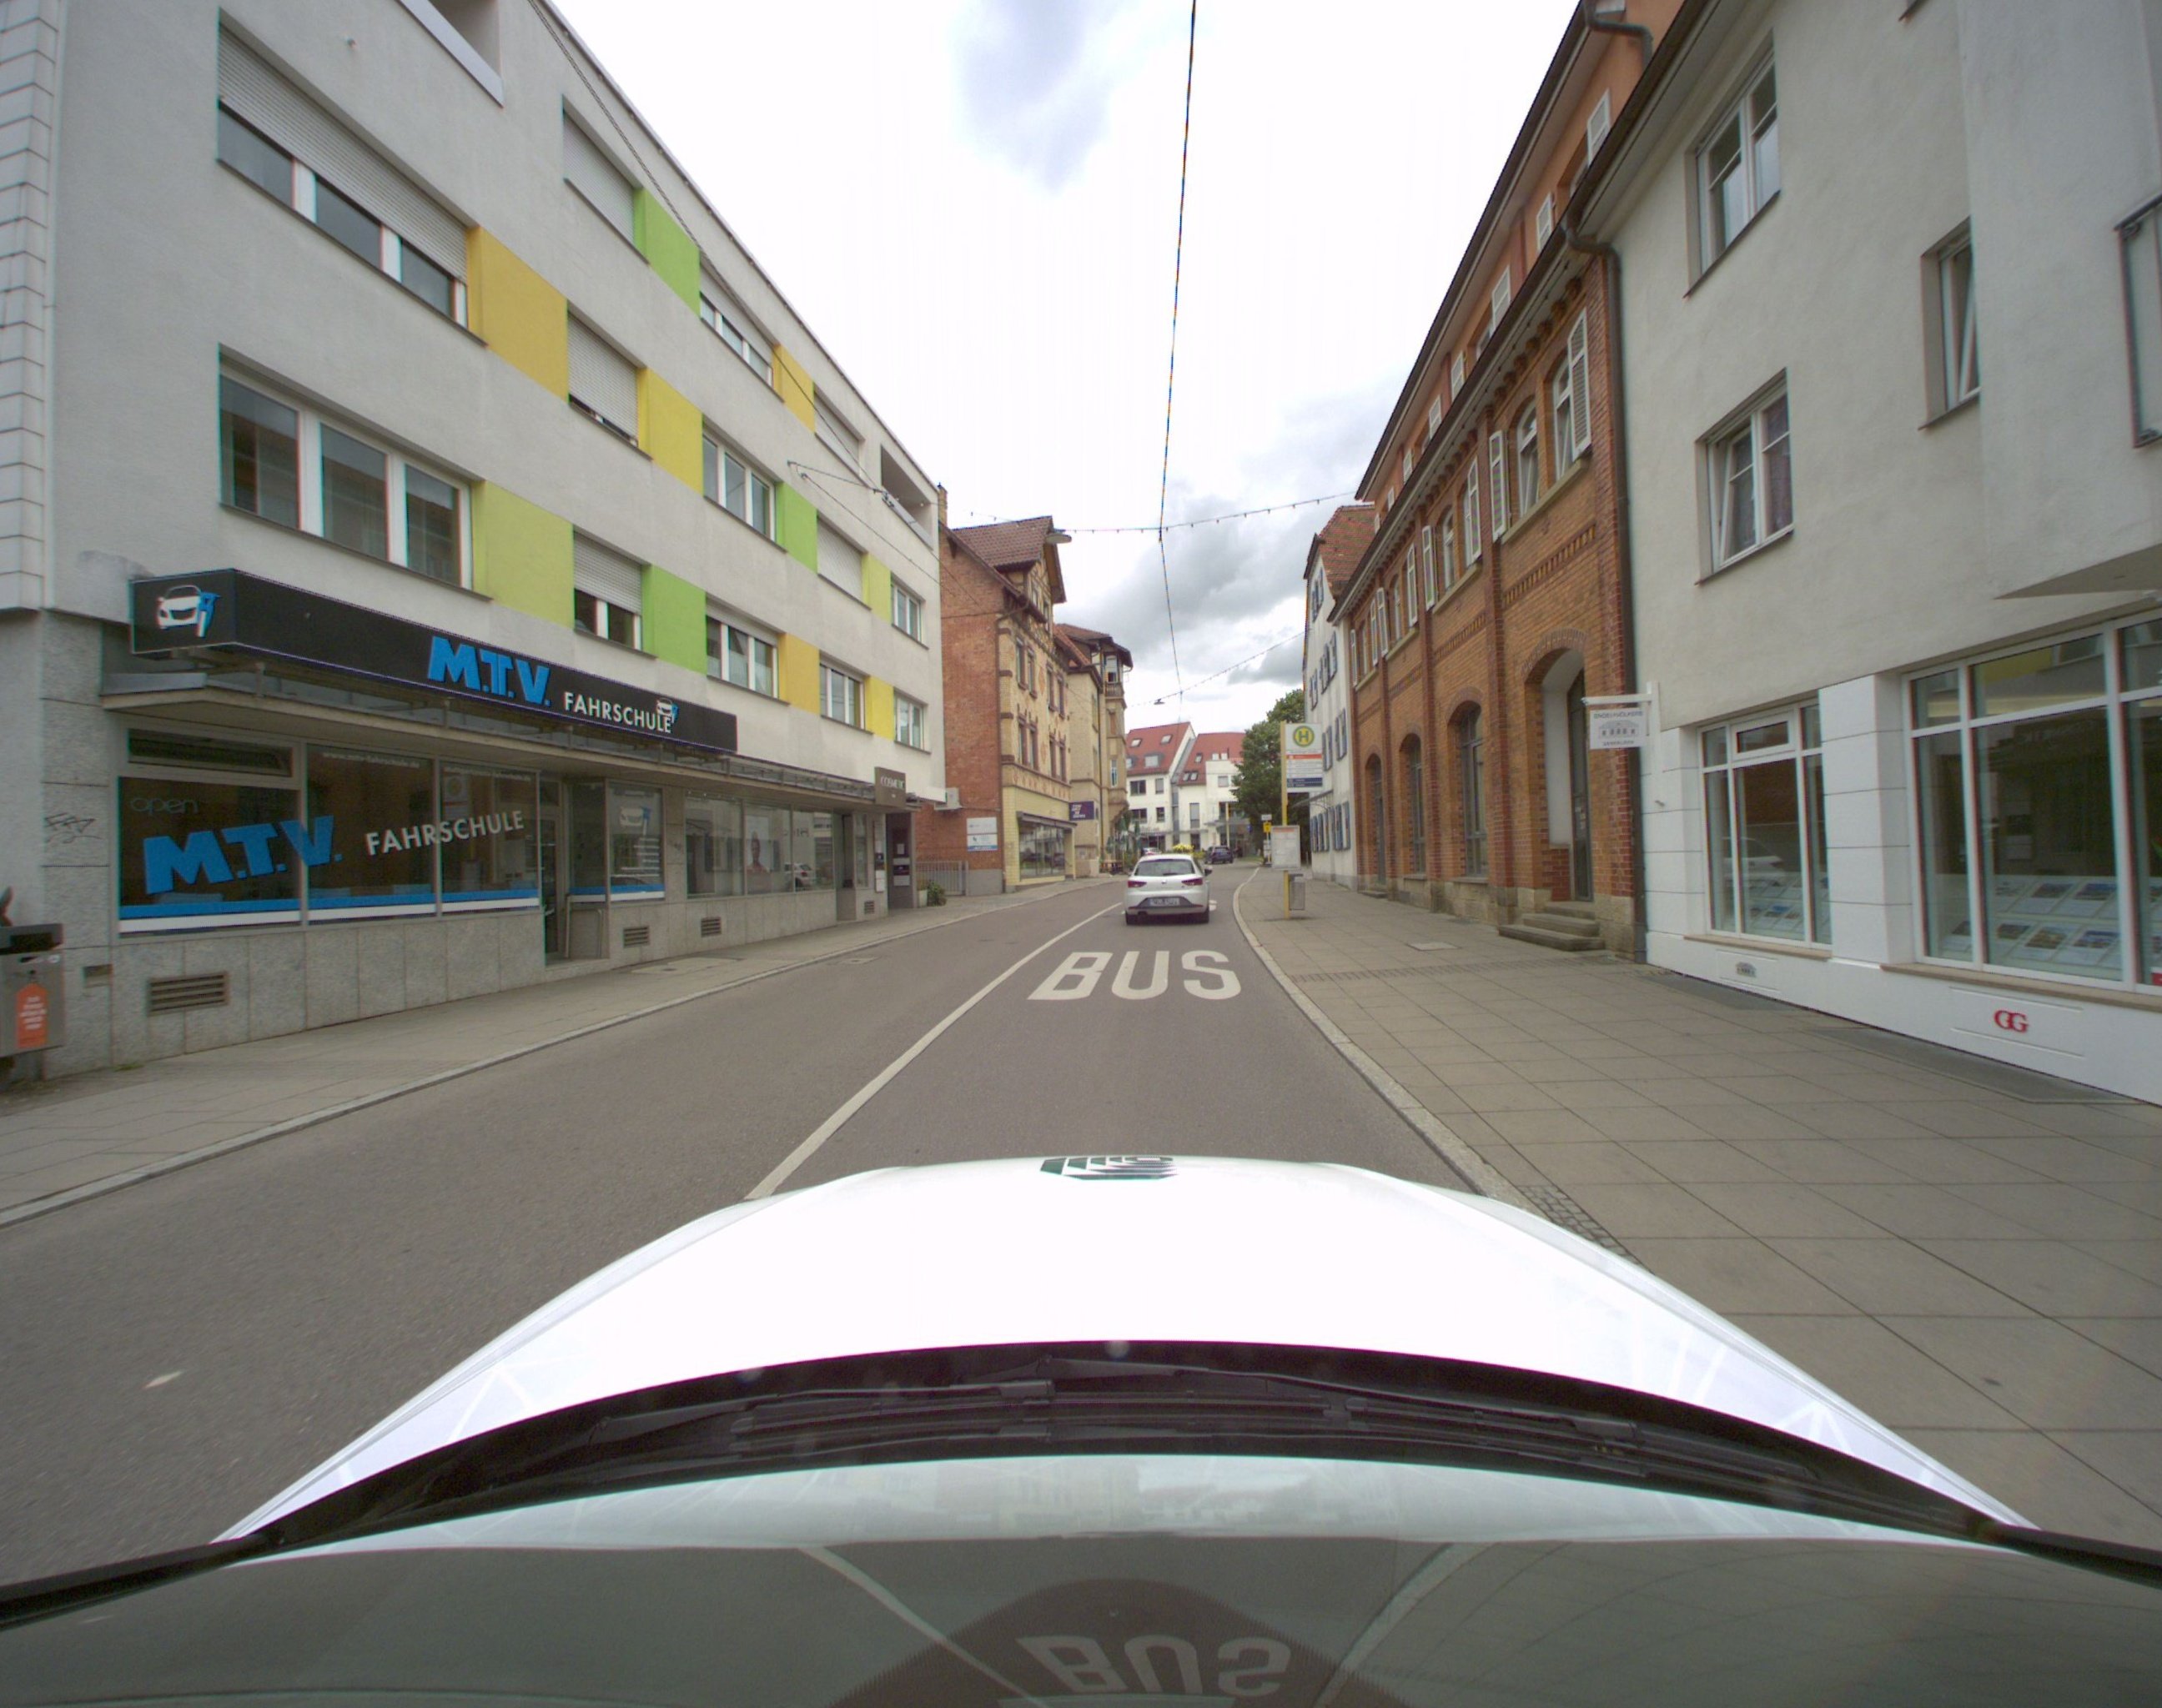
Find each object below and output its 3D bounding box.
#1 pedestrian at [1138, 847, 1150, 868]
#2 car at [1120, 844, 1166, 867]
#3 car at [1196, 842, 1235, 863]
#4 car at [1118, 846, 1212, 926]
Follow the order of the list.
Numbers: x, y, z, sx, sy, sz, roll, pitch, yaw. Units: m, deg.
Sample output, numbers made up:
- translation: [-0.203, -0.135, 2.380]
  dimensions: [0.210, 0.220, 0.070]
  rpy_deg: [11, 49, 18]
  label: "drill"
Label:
- translation: [4.741, 0.282, 61.209]
  dimensions: [0.830, 1.552, 0.628]
  rpy_deg: [-2, 0, 4]
  label: "pedestrian"
- translation: [5.771, 0.139, 75.917]
  dimensions: [2.012, 2.013, 3.951]
  rpy_deg: [-2, 0, -44]
  label: "car"
- translation: [10.541, -0.148, 64.070]
  dimensions: [1.811, 1.480, 3.858]
  rpy_deg: [-2, 1, -9]
  label: "car"
- translation: [1.965, 0.625, 18.114]
  dimensions: [1.801, 1.480, 3.881]
  rpy_deg: [-2, 1, 9]
  label: "car"
